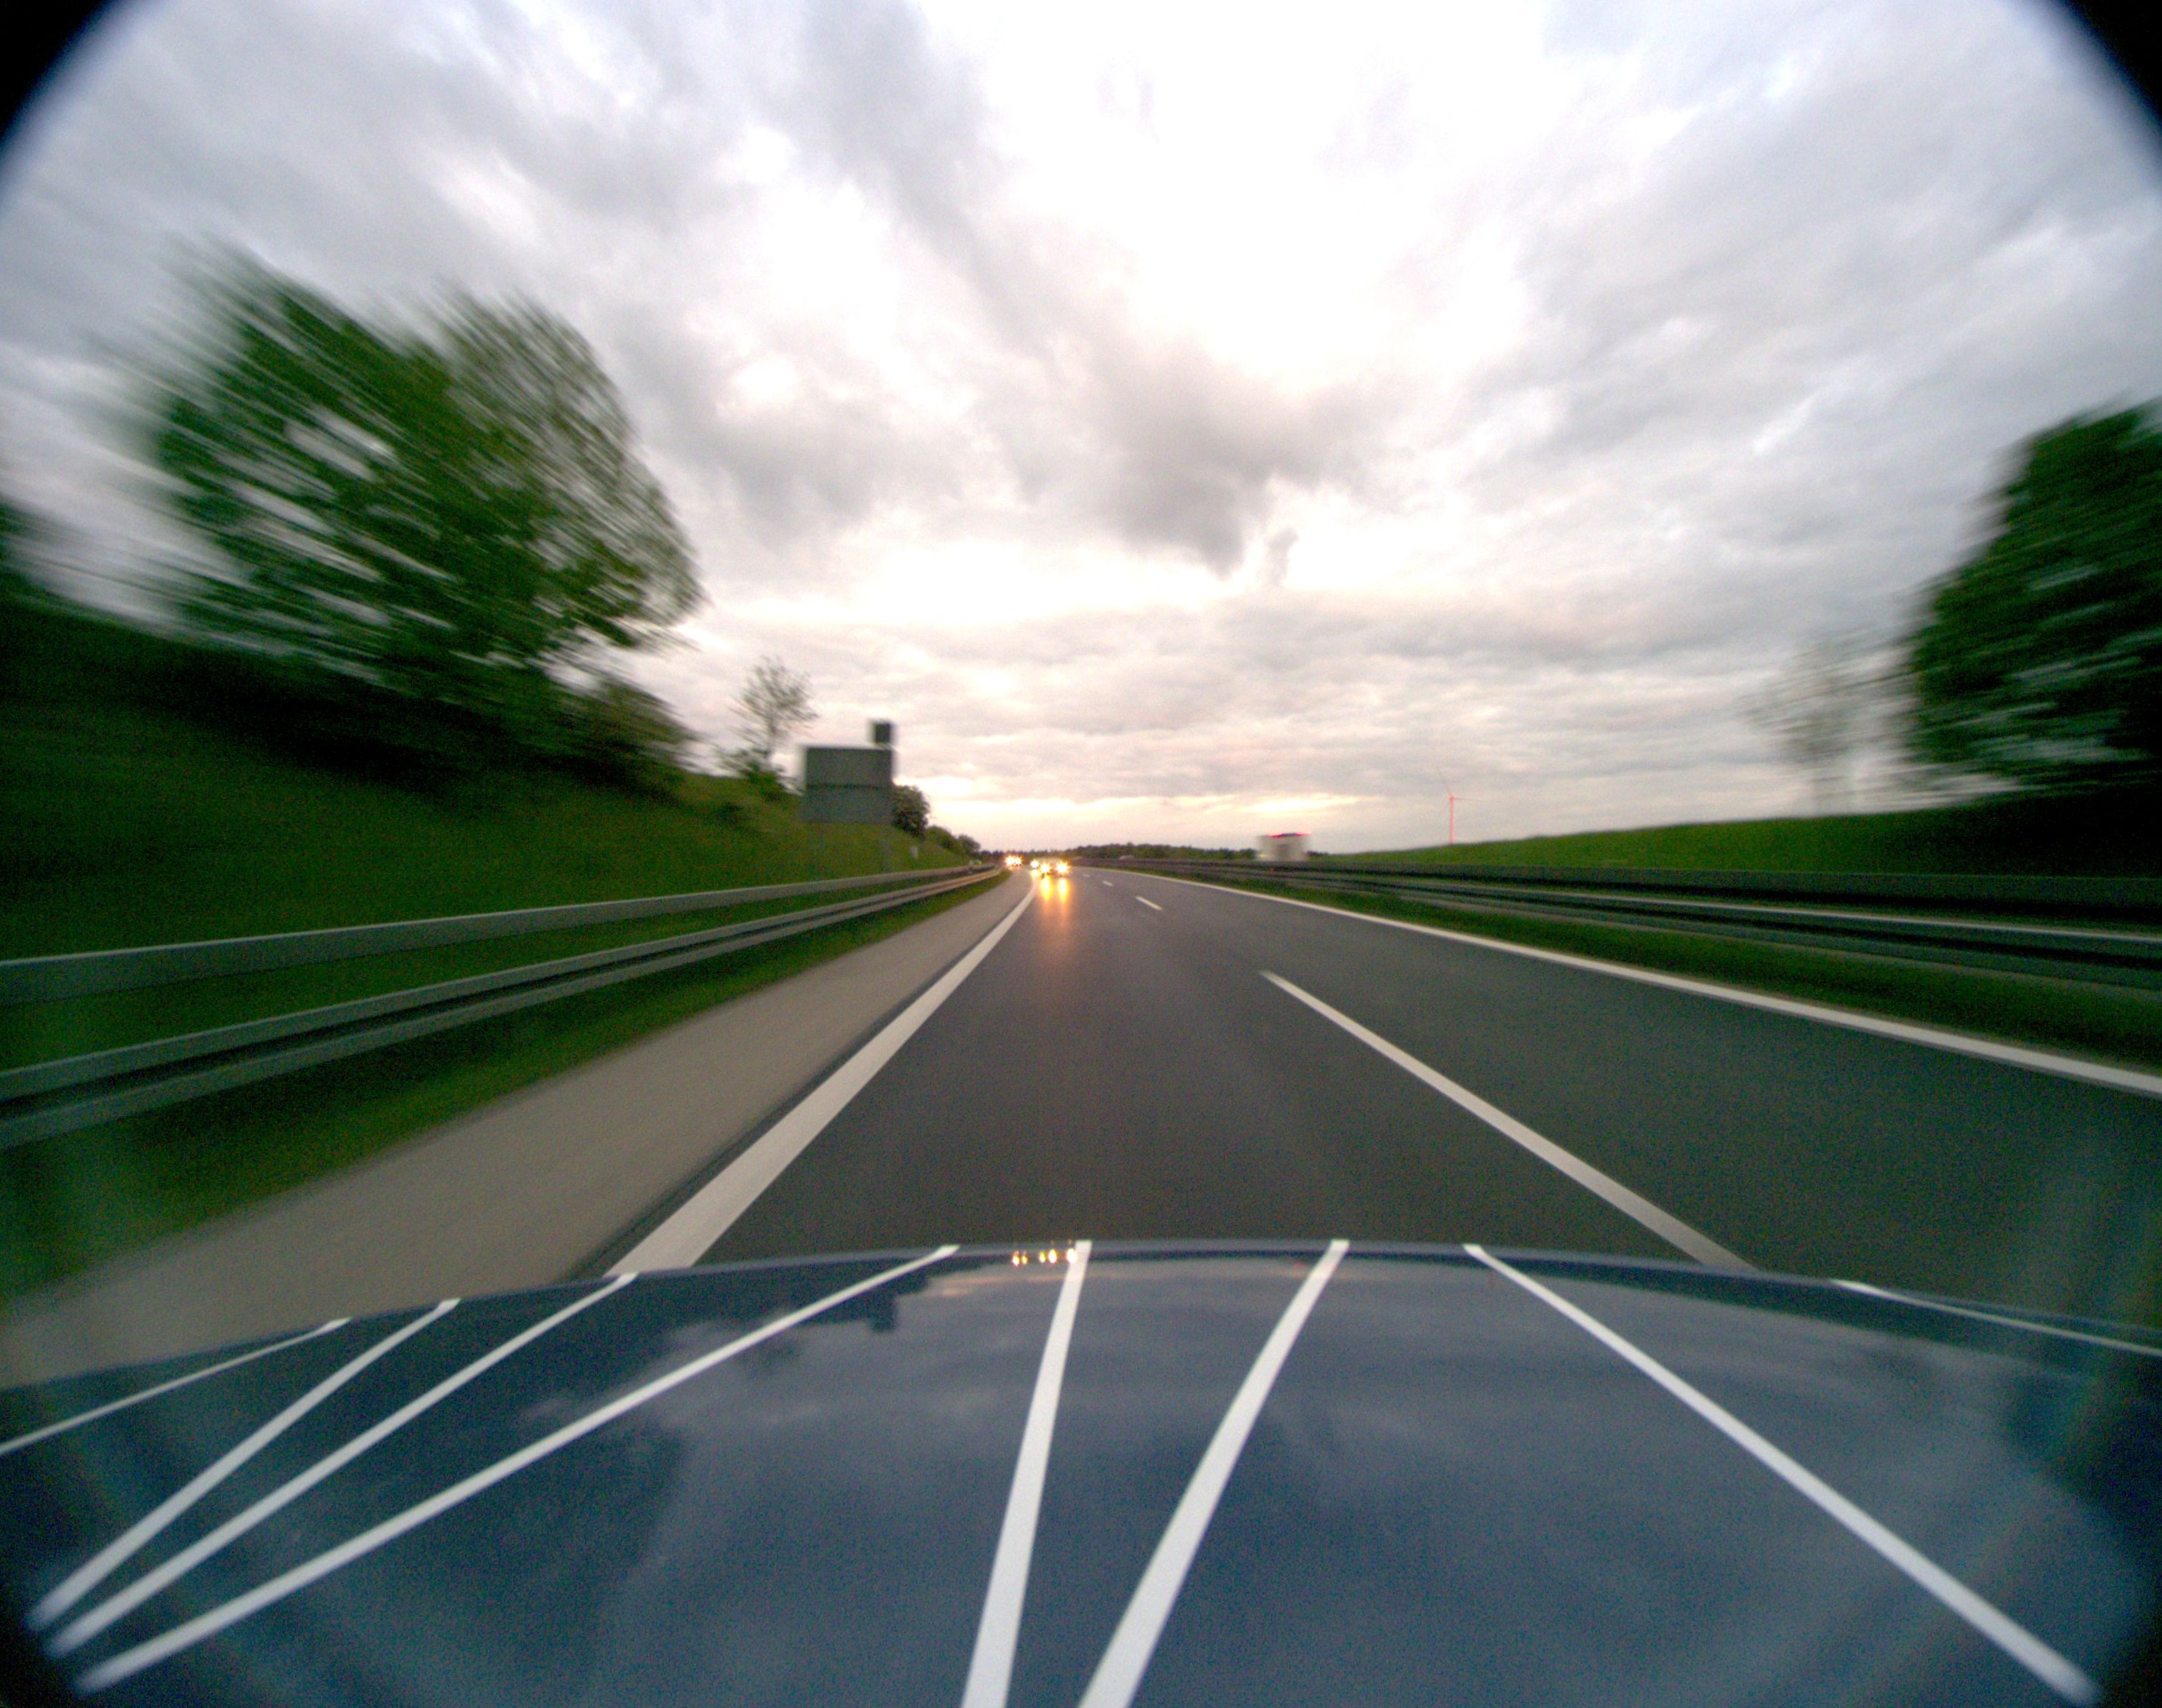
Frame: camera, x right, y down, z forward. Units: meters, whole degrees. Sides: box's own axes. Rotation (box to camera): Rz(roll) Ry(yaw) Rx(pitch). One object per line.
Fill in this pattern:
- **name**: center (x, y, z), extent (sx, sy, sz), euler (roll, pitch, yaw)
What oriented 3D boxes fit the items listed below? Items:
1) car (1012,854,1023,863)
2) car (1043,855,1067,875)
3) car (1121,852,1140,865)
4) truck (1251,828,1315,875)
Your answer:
- **car**: center (-12.478, 0.879, 149.568), extent (1.920, 1.827, 3.998), euler (0, -1, -7)
- **car**: center (-2.021, 0.820, 58.678), extent (1.682, 1.504, 3.998), euler (-1, 0, -4)
- **car**: center (6.640, 0.612, 102.718), extent (1.780, 1.705, 4.634), euler (-2, 0, -6)
- **truck**: center (14.419, -0.165, 54.782), extent (2.619, 3.091, 6.667), euler (-2, 0, -2)
